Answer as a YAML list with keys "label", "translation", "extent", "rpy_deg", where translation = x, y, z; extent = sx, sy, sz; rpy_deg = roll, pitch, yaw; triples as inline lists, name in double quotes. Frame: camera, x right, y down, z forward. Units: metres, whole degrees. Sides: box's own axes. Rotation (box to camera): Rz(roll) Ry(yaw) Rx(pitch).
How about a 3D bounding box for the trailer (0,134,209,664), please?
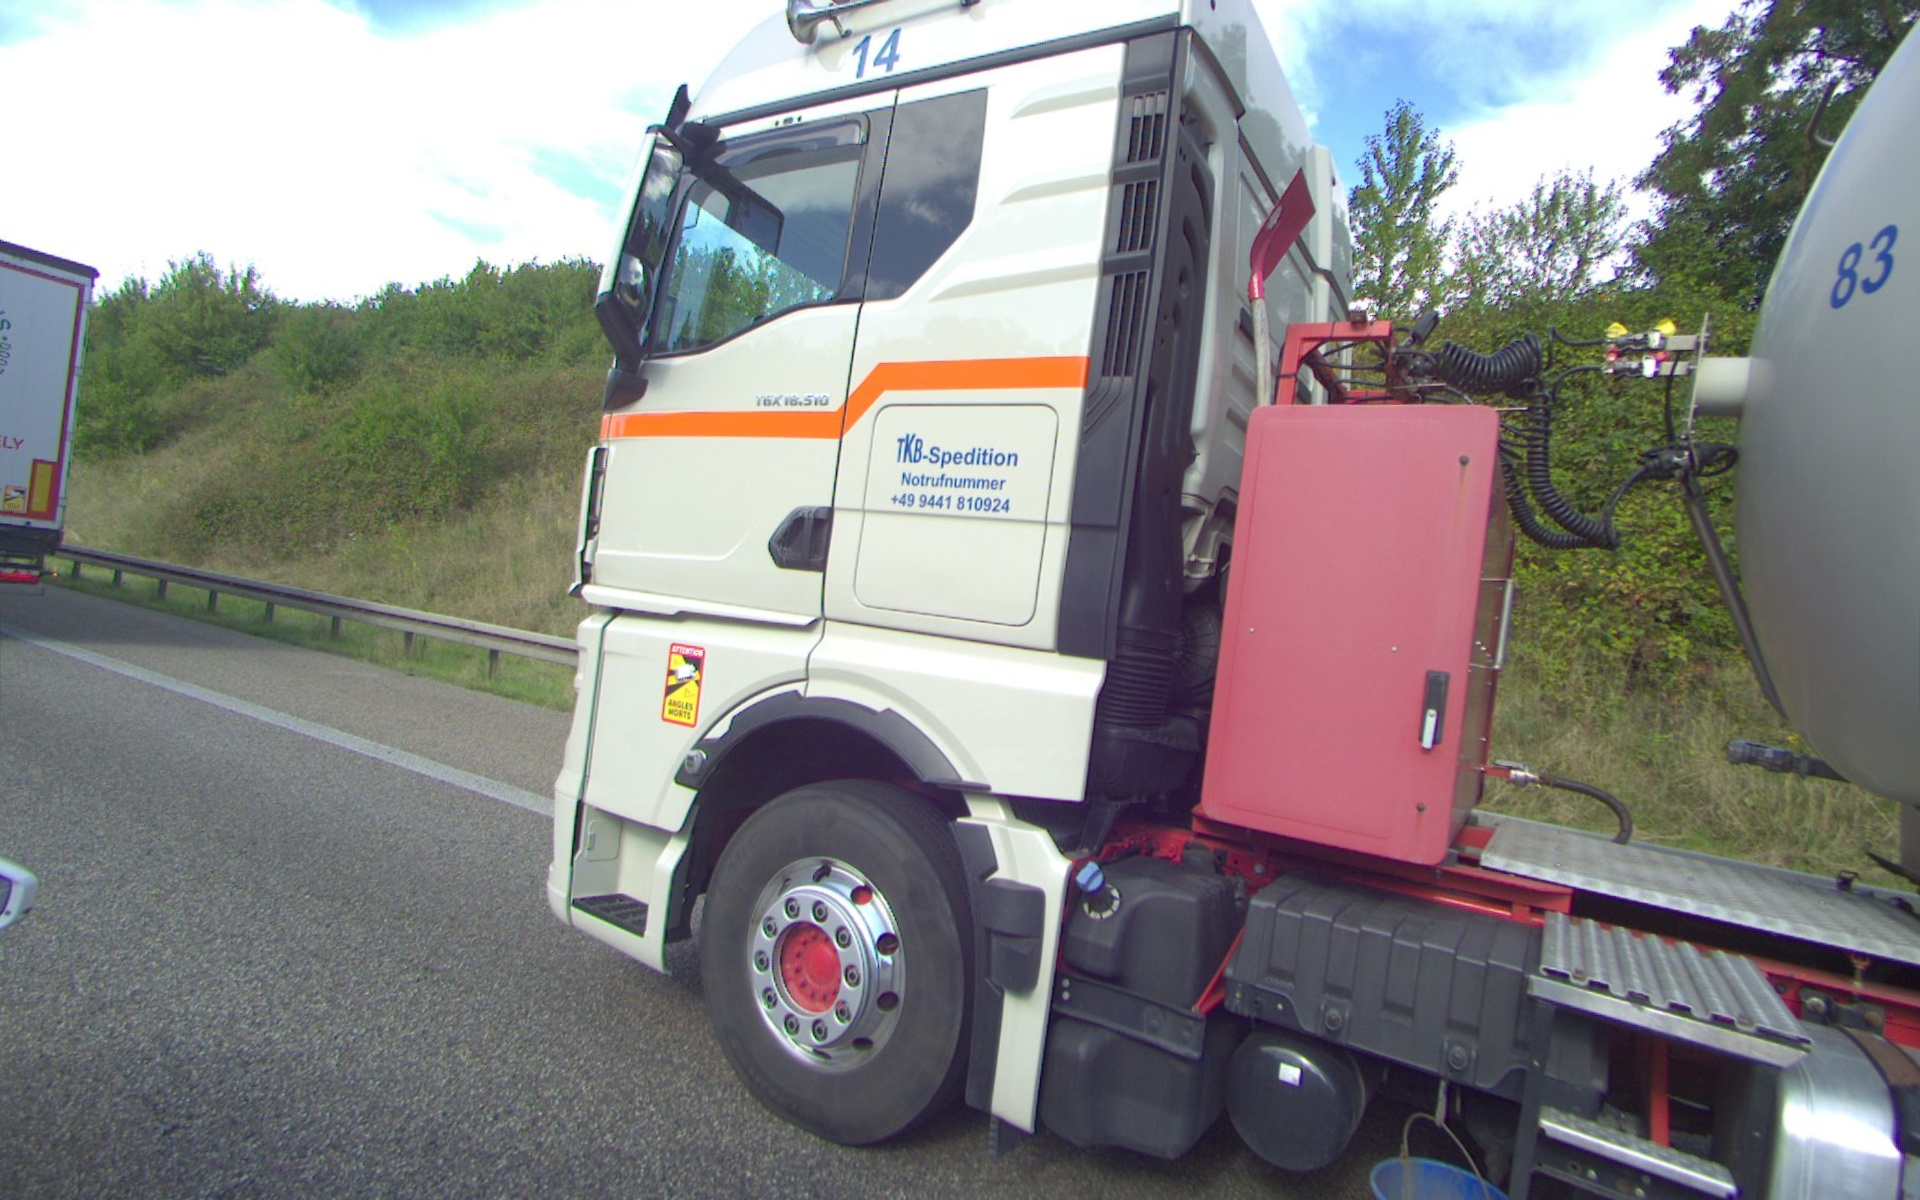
- label: "trailer"
  translation: [-14.417, -2.497, 12.463]
  extent: [13.066, 4.716, 3.008]
  rpy_deg: [7, -1, 31]

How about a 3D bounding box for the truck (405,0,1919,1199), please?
- label: "truck"
  translation: [1.545, -0.365, 3.046]
  extent: [5.806, 4.091, 2.807]
  rpy_deg: [7, -1, 32]
